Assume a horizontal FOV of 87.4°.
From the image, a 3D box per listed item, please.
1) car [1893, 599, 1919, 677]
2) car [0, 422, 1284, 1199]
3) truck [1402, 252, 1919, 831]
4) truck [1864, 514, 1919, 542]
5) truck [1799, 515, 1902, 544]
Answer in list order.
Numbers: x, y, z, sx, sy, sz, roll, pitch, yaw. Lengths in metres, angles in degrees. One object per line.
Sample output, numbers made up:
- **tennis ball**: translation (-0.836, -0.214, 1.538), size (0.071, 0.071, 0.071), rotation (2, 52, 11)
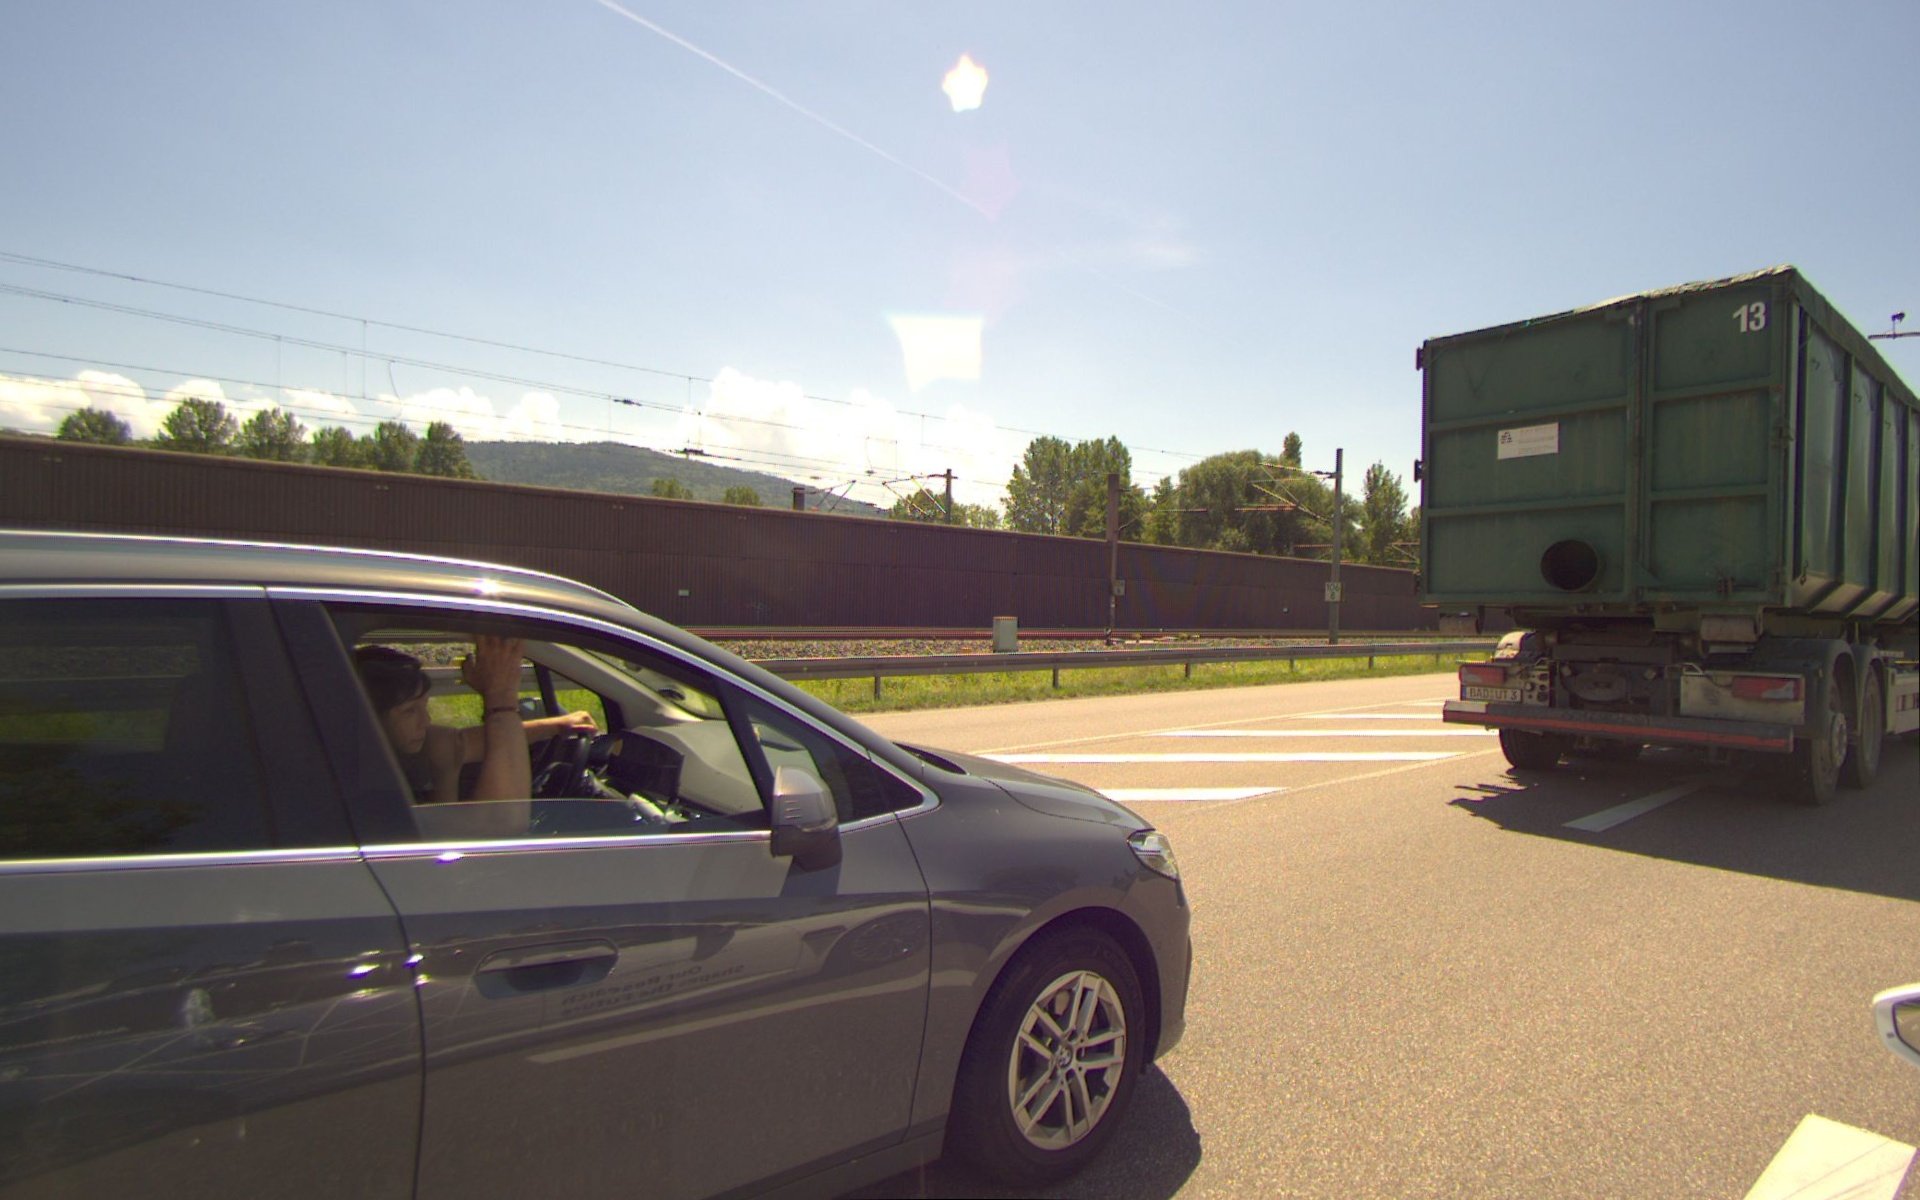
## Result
- **car**: translation (22.419, 0.894, 21.342), size (1.895, 1.791, 4.598), rotation (1, 1, 16)
- **car**: translation (-1.221, 0.610, 2.423), size (4.189, 1.644, 1.830), rotation (1, -1, -39)
- **truck**: translation (8.243, -0.336, 10.616), size (9.494, 3.787, 2.568), rotation (1, 0, -40)
- **truck**: translation (101.833, -7.850, 109.267), size (1.984, 2.710, 5.048), rotation (1, -1, -40)
- **truck**: translation (99.412, -7.843, 112.245), size (1.983, 2.710, 8.426), rotation (1, -1, -39)
